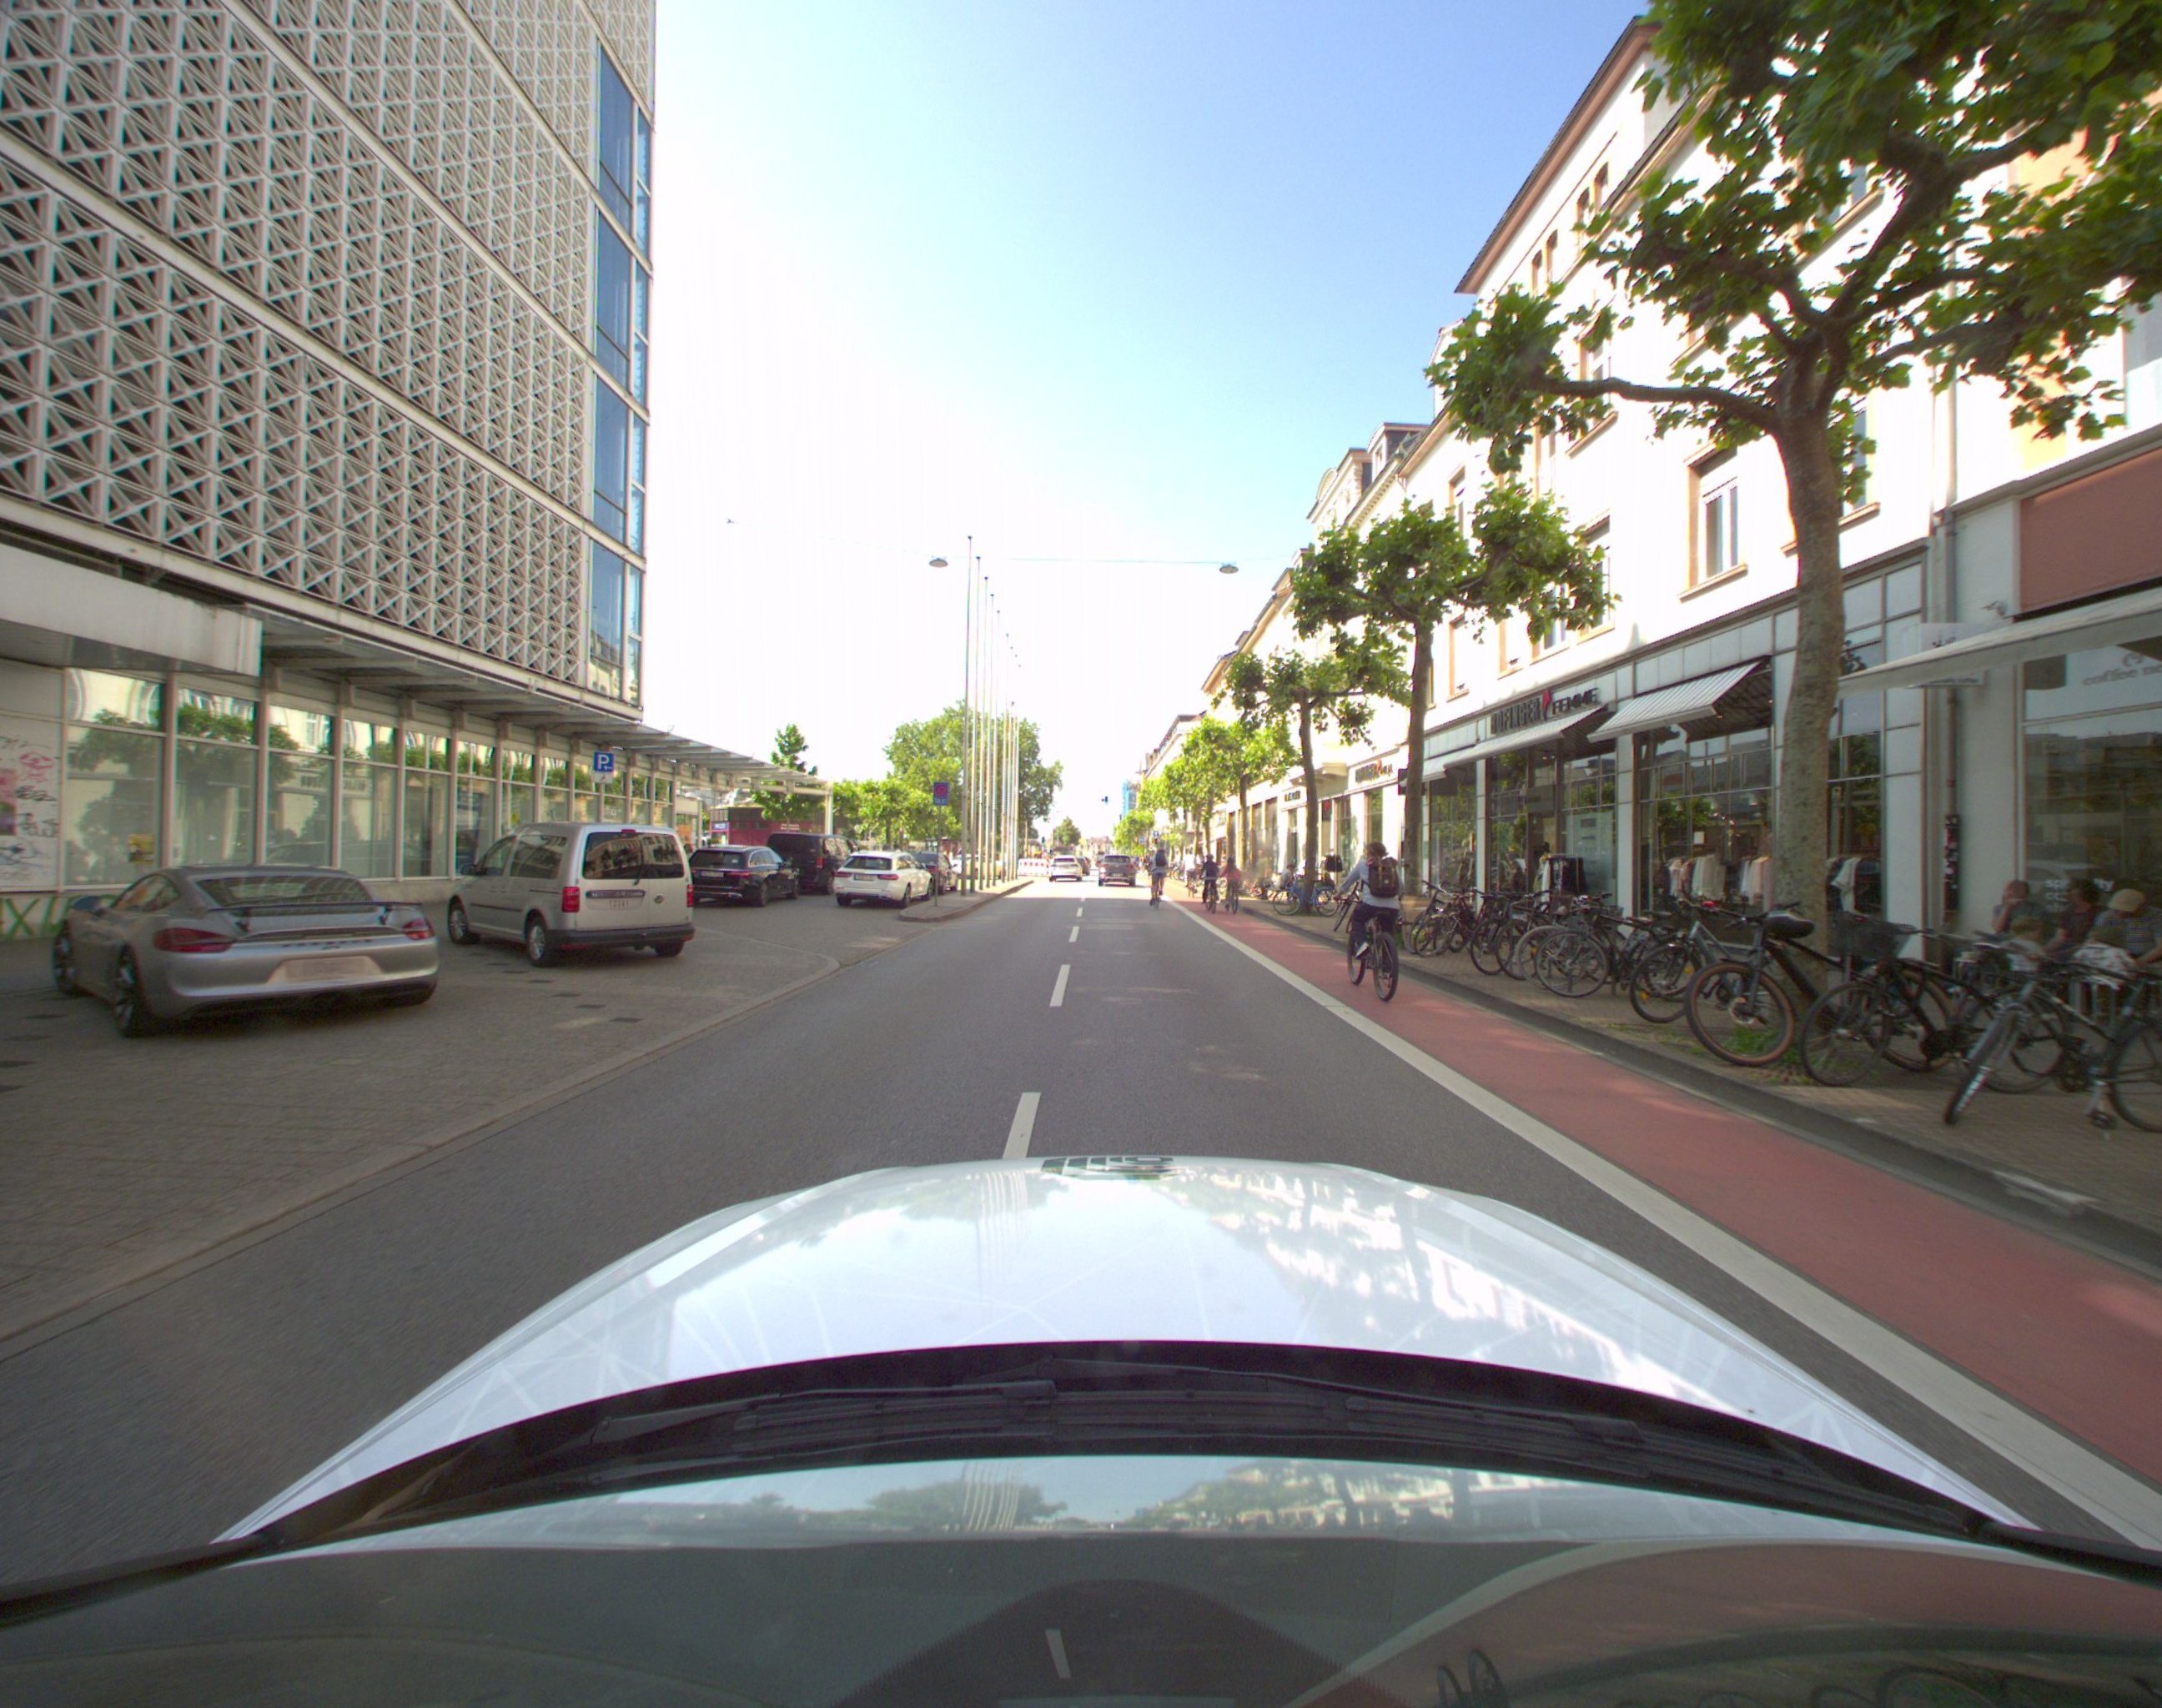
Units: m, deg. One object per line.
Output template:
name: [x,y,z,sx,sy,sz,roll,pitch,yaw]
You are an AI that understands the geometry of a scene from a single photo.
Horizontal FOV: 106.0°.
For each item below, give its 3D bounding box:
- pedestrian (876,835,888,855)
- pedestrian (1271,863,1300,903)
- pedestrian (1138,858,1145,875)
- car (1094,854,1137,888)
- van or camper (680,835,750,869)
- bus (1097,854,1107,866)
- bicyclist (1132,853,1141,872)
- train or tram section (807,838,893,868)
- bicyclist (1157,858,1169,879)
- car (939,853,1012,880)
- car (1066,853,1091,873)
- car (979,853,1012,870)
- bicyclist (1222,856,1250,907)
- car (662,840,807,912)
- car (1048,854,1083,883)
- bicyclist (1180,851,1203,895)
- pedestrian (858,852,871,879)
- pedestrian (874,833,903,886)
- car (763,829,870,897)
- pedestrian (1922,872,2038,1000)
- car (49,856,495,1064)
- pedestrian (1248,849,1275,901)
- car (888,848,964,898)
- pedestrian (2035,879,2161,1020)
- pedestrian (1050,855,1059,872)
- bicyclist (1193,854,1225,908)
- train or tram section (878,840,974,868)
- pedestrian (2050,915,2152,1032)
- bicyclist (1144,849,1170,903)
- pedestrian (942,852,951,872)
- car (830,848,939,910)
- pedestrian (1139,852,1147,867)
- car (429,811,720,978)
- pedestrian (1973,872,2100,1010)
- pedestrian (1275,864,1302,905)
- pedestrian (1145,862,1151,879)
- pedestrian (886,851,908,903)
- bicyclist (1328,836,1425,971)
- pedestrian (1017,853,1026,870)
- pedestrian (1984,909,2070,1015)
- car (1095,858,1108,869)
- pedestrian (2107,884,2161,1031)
pedestrian: [-18.130,-0.826,74.112,0.598,1.749,0.808,0,-2,32]
pedestrian: [6.520,0.929,25.986,0.785,1.243,0.576,1,-2,-2]
pedestrian: [6.334,1.297,84.928,0.608,1.739,0.677,-4,-1,-1]
car: [1.624,0.800,39.641,1.840,1.559,3.998,0,0,-1]
van or camper: [-21.454,-0.078,47.957,1.867,1.919,5.023,1,-1,-1]
bus: [6.248,1.912,243.438,2.985,3.594,11.743,1,-1,0]
bicyclist: [4.706,0.701,68.902,0.645,1.551,0.817,1,-1,0]
train or tram section: [-28.909,-0.067,102.696,2.588,3.677,11.071,0,0,36]
bicyclist: [7.007,1.238,69.680,0.577,1.797,0.848,-1,0,-34]
car: [-6.317,0.719,49.252,1.873,1.542,4.891,1,0,28]
car: [-0.195,0.680,61.584,1.839,1.449,4.000,0,0,0]
car: [-10.028,0.894,96.340,1.843,1.955,4.786,0,-1,22]
bicyclist: [4.266,0.755,22.485,0.598,1.358,0.720,-1,-2,-3]
car: [-8.646,0.522,20.813,1.989,1.610,4.394,2,0,-4]
car: [-0.844,0.776,46.173,1.839,1.560,4.001,0,0,1]
bicyclist: [4.155,0.721,30.782,0.772,1.635,0.851,0,0,1]
pedestrian: [-13.769,0.750,51.740,0.670,1.677,0.685,1,-1,-7]
pedestrian: [-6.511,0.184,27.562,0.612,1.792,0.697,0,-1,40]
car: [-8.418,0.266,26.437,1.825,2.013,4.686,1,0,1]
pedestrian: [9.764,0.871,8.861,0.679,1.333,0.531,1,0,-2]
car: [-7.622,0.755,7.598,4.244,1.286,1.983,2,0,32]
pedestrian: [6.130,0.706,27.732,0.637,1.689,0.843,3,0,-2]
car: [-5.371,0.619,28.746,1.755,1.600,4.709,1,0,0]
pedestrian: [9.693,0.883,7.719,0.679,1.253,0.531,-1,0,-2]
pedestrian: [-2.591,0.908,79.239,0.627,1.595,0.690,0,-1,22]
bicyclist: [3.537,0.730,22.506,0.697,1.441,0.790,2,-1,-3]
train or tram section: [-21.219,0.115,113.261,2.588,3.677,15.645,0,0,36]
pedestrian: [9.060,1.048,7.241,0.363,0.968,0.437,1,0,2]
bicyclist: [2.146,0.622,23.032,0.628,1.481,1.198,1,0,0]
pedestrian: [-11.756,0.720,70.986,0.582,1.722,0.789,1,-4,3]
car: [-5.369,0.625,22.947,1.793,1.523,4.739,1,0,1]
pedestrian: [6.203,0.540,81.721,0.608,1.515,0.677,-4,-1,-1]
car: [-7.212,0.436,11.454,4.389,1.909,2.022,1,0,37]
pedestrian: [9.674,0.860,8.264,0.679,1.338,0.531,0,0,-2]
pedestrian: [6.471,0.945,25.412,0.637,1.233,0.596,1,-2,-2]
pedestrian: [6.304,1.550,76.595,0.520,1.521,0.642,-1,-1,4]
pedestrian: [-6.441,0.809,28.502,0.526,1.792,0.542,0,-1,40]
bicyclist: [3.378,0.546,9.381,0.697,1.446,0.960,2,-1,-3]
pedestrian: [-6.236,0.789,85.003,0.627,1.810,0.735,0,-1,22]
pedestrian: [9.173,1.037,7.907,0.339,0.968,0.437,1,0,2]
car: [3.156,1.484,126.423,1.839,1.668,3.999,2,0,-1]
pedestrian: [9.696,0.901,7.121,0.637,1.253,0.608,-1,-2,-2]
